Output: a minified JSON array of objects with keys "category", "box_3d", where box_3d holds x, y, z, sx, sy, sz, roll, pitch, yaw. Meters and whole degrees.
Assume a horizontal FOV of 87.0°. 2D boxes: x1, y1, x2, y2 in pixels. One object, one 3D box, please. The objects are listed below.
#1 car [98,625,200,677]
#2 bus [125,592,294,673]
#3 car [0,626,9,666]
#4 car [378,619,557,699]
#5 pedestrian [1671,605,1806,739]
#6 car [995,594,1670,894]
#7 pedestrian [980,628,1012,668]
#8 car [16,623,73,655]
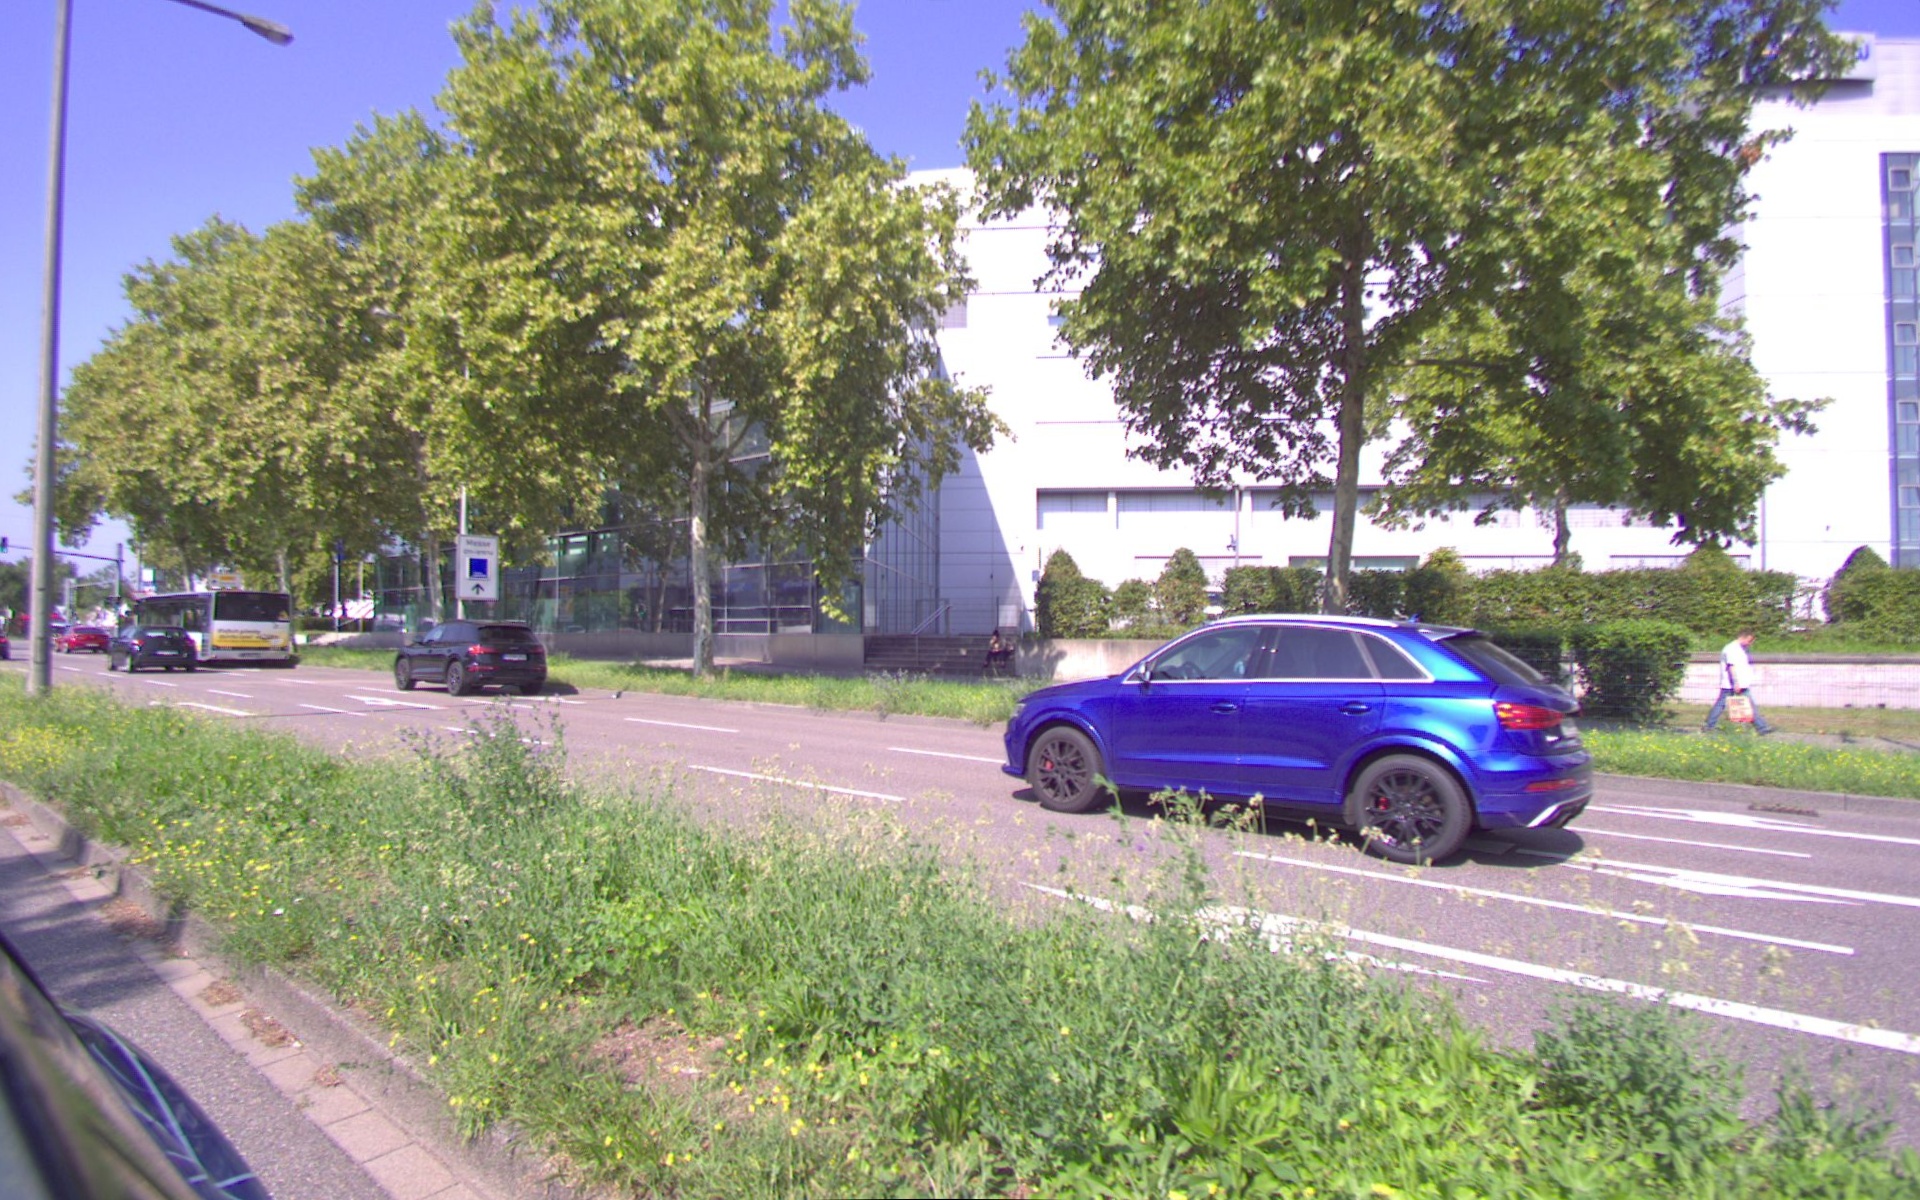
[{"category":"car","box_3d":[-25.295,1.577,31.513,4.309,1.501,1.687,-2,-3,41]},{"category":"bus","box_3d":[-28.799,1.256,38.560,10.897,2.715,2.635,-1,-4,40]},{"category":"car","box_3d":[-38.704,1.746,39.452,4.641,1.501,1.826,-1,-4,41]},{"category":"car","box_3d":[-11.269,1.322,23.040,4.606,1.617,1.827,-1,-6,39]},{"category":"pedestrian","box_3d":[12.472,1.132,16.256,1.248,2.029,1.017,-2,-2,-7]},{"category":"car","box_3d":[2.581,0.857,7.591,4.343,1.597,1.973,-1,-4,40]},{"category":"pedestrian","box_3d":[1.043,1.382,29.224,0.561,1.118,0.728,-4,-3,35]},{"category":"car","box_3d":[-56.504,2.387,62.437,3.971,1.910,1.908,-1,-4,39]}]
